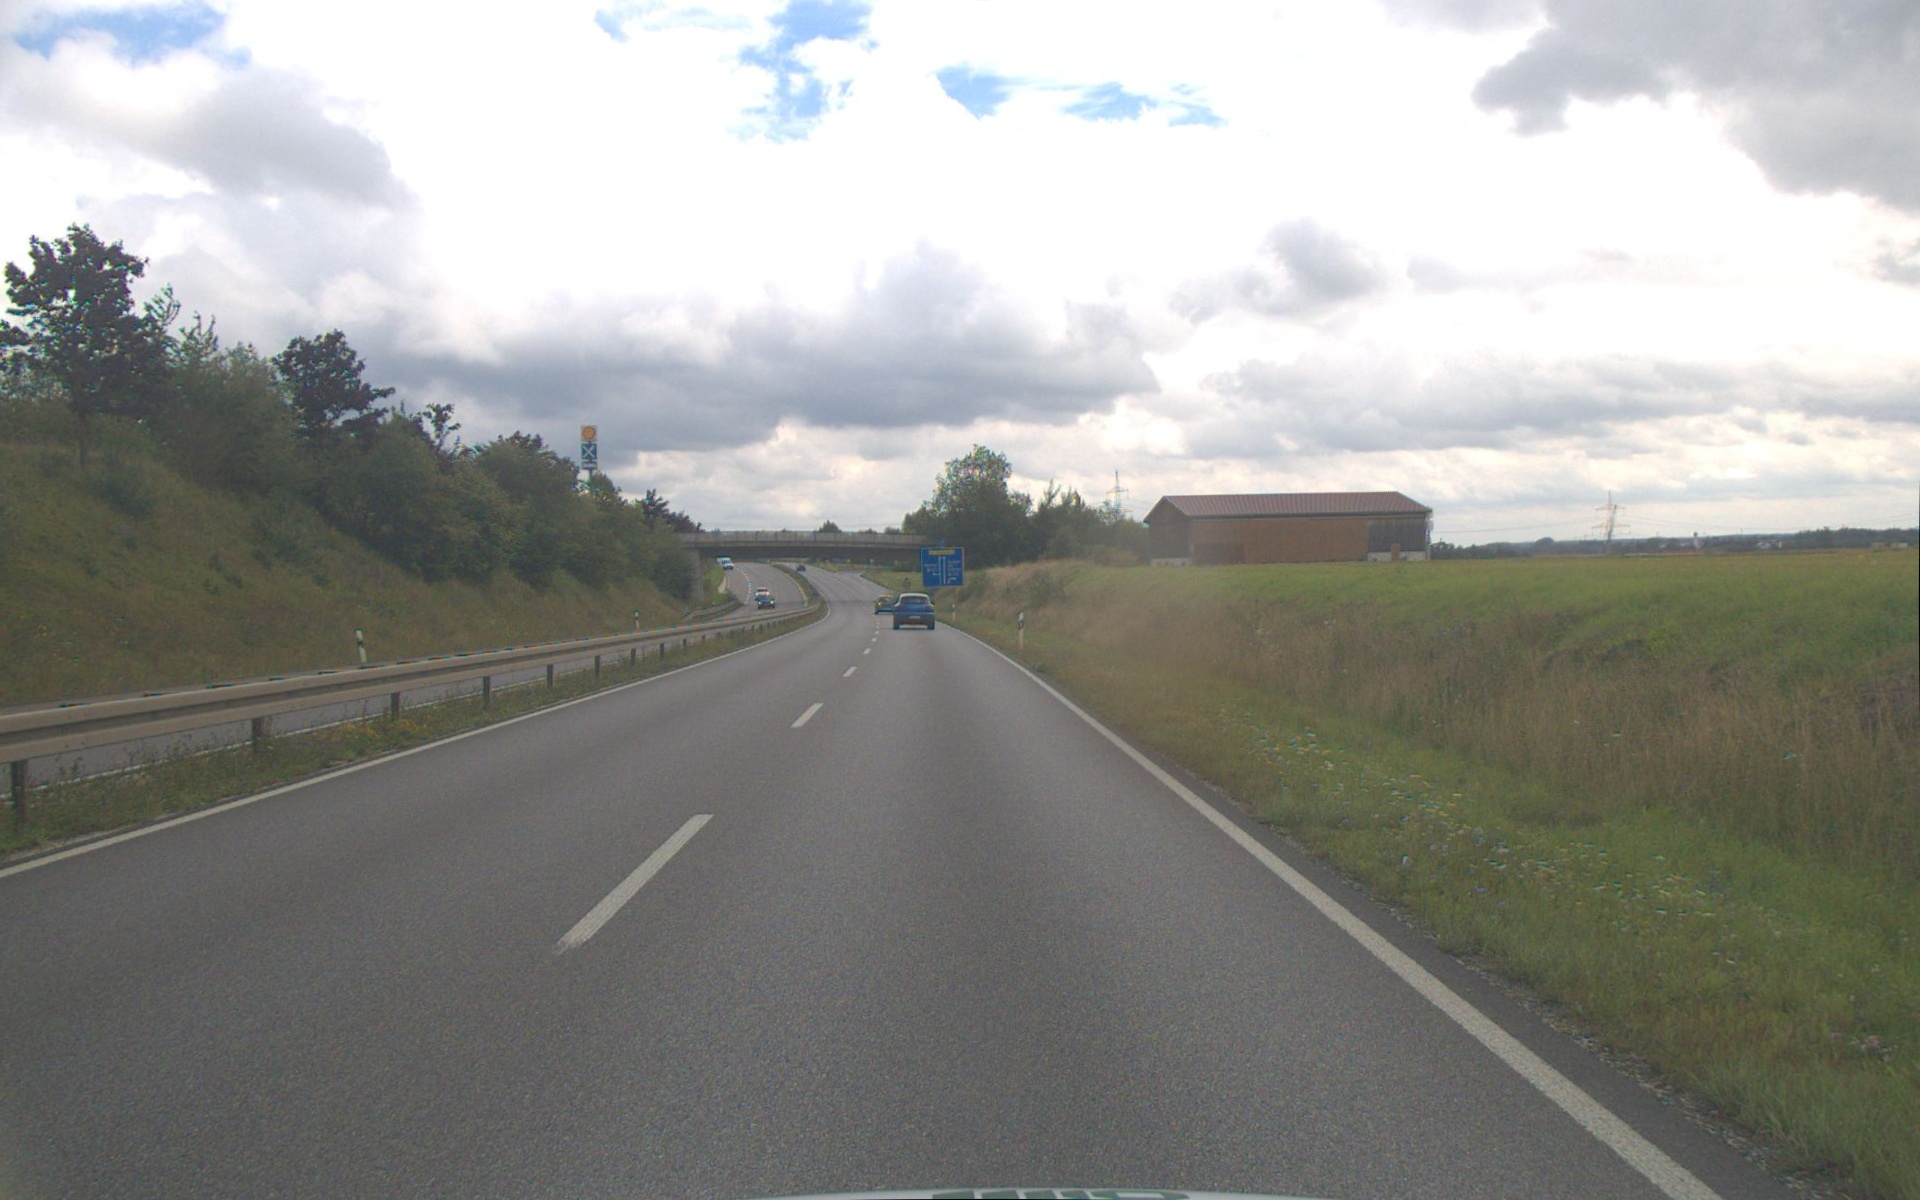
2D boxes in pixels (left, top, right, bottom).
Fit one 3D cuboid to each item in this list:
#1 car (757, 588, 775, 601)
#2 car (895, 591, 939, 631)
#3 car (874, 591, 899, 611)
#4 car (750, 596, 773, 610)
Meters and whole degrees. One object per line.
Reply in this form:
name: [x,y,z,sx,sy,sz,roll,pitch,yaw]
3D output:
car: [-24.190,-0.644,206.286,1.954,1.478,3.998,-1,1,-3]
car: [-2.006,0.475,76.708,1.992,1.689,4.542,0,2,-2]
car: [-6.003,0.079,135.081,1.880,1.478,4.360,-1,1,-5]
car: [-20.417,0.290,170.198,1.954,1.327,4.820,-1,1,-3]
